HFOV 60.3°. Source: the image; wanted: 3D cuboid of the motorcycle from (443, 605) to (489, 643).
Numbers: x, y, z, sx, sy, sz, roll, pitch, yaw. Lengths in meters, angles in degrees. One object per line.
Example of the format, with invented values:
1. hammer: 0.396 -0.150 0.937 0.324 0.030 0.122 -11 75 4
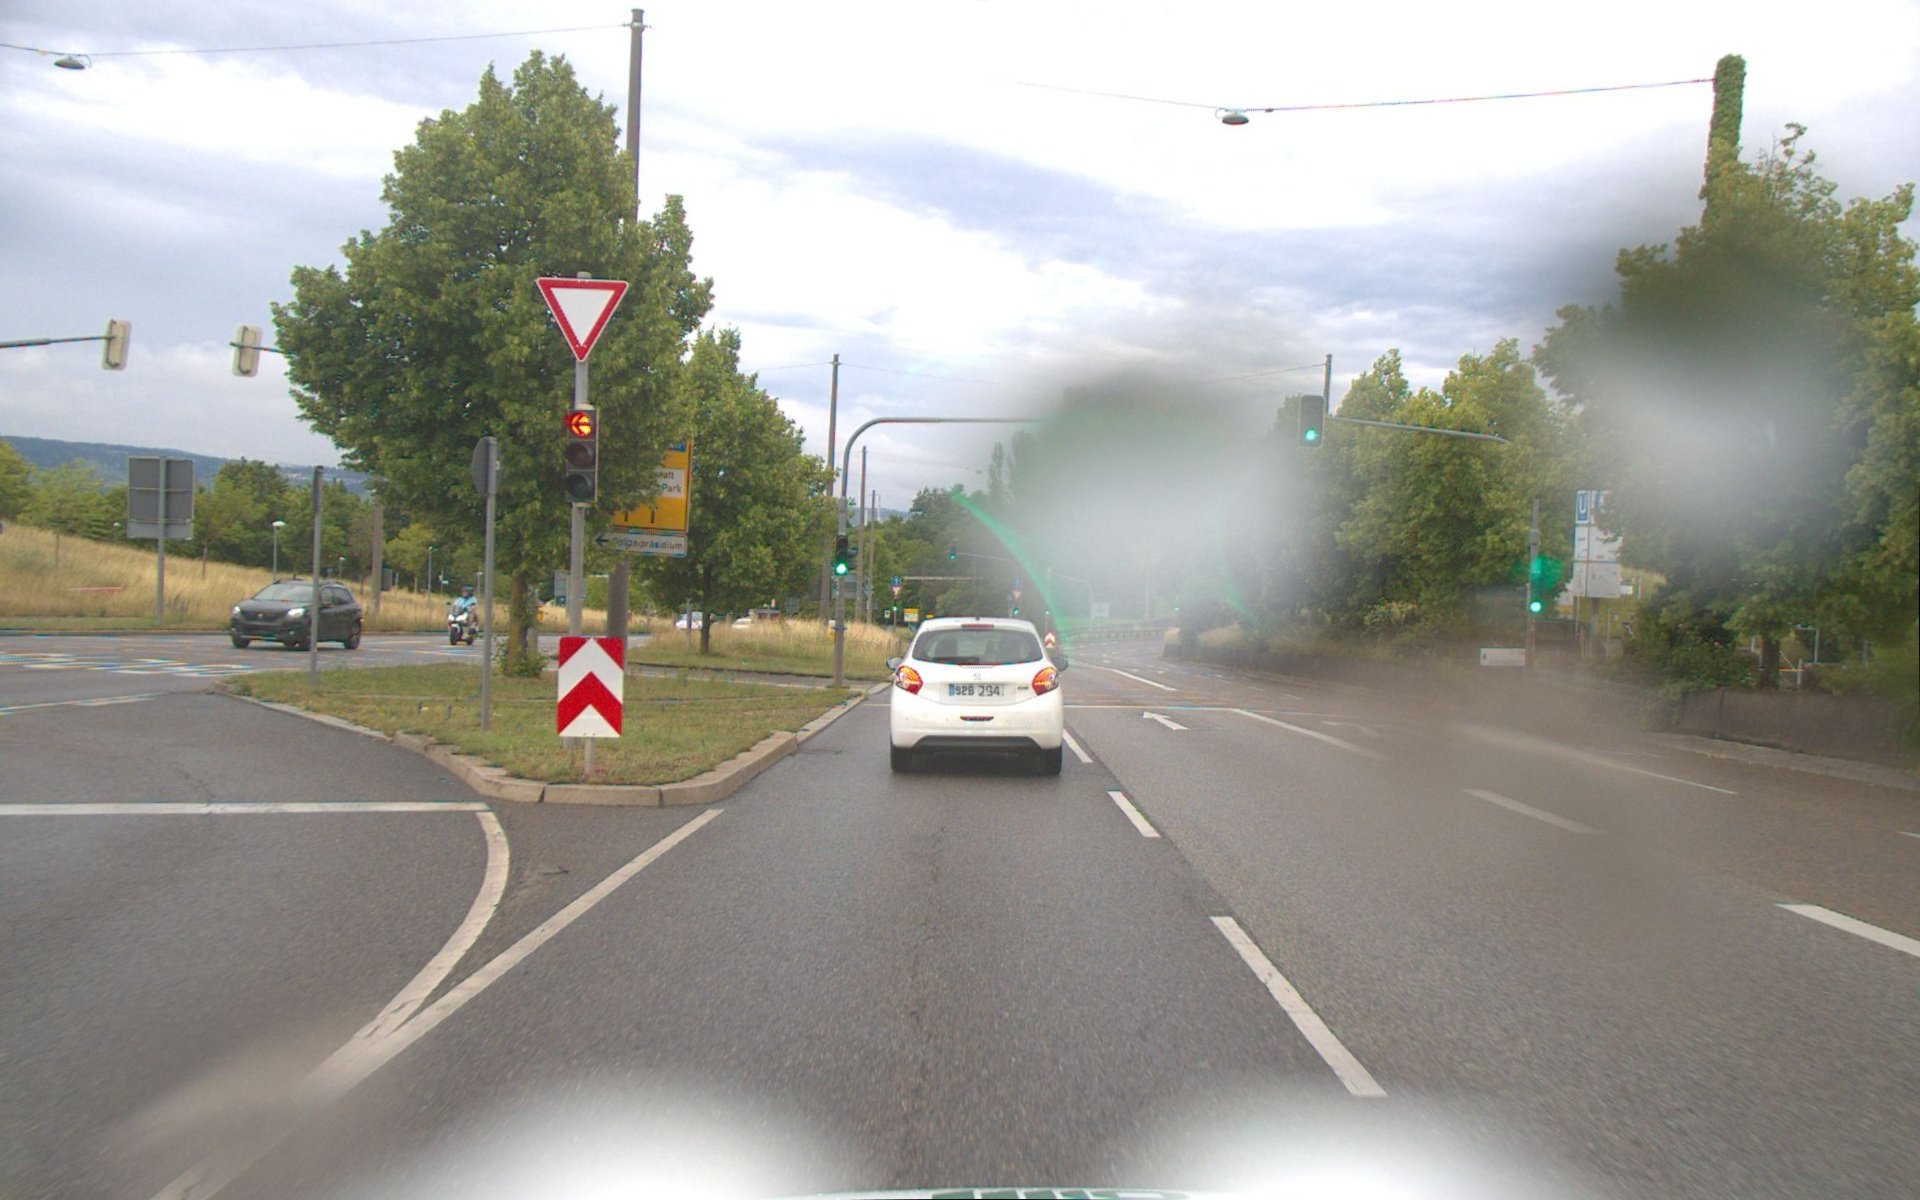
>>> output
1. motorcycle: -14.659 0.701 49.150 0.604 1.068 2.502 2 1 0

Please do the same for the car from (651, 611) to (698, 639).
1. car: -14.826 1.313 85.973 1.506 1.413 3.928 2 -1 3

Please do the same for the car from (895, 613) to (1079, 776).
1. car: 0.257 0.874 16.938 1.673 1.465 3.690 0 0 0

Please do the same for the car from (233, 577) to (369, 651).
1. car: -14.853 0.341 37.486 1.506 1.530 3.662 2 -1 1

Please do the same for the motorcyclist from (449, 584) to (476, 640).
1. motorcyclist: -14.646 0.349 48.702 0.570 1.624 0.643 2 0 0

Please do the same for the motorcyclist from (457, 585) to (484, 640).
1. motorcyclist: -14.639 0.358 49.467 0.599 1.609 0.582 2 0 -1
